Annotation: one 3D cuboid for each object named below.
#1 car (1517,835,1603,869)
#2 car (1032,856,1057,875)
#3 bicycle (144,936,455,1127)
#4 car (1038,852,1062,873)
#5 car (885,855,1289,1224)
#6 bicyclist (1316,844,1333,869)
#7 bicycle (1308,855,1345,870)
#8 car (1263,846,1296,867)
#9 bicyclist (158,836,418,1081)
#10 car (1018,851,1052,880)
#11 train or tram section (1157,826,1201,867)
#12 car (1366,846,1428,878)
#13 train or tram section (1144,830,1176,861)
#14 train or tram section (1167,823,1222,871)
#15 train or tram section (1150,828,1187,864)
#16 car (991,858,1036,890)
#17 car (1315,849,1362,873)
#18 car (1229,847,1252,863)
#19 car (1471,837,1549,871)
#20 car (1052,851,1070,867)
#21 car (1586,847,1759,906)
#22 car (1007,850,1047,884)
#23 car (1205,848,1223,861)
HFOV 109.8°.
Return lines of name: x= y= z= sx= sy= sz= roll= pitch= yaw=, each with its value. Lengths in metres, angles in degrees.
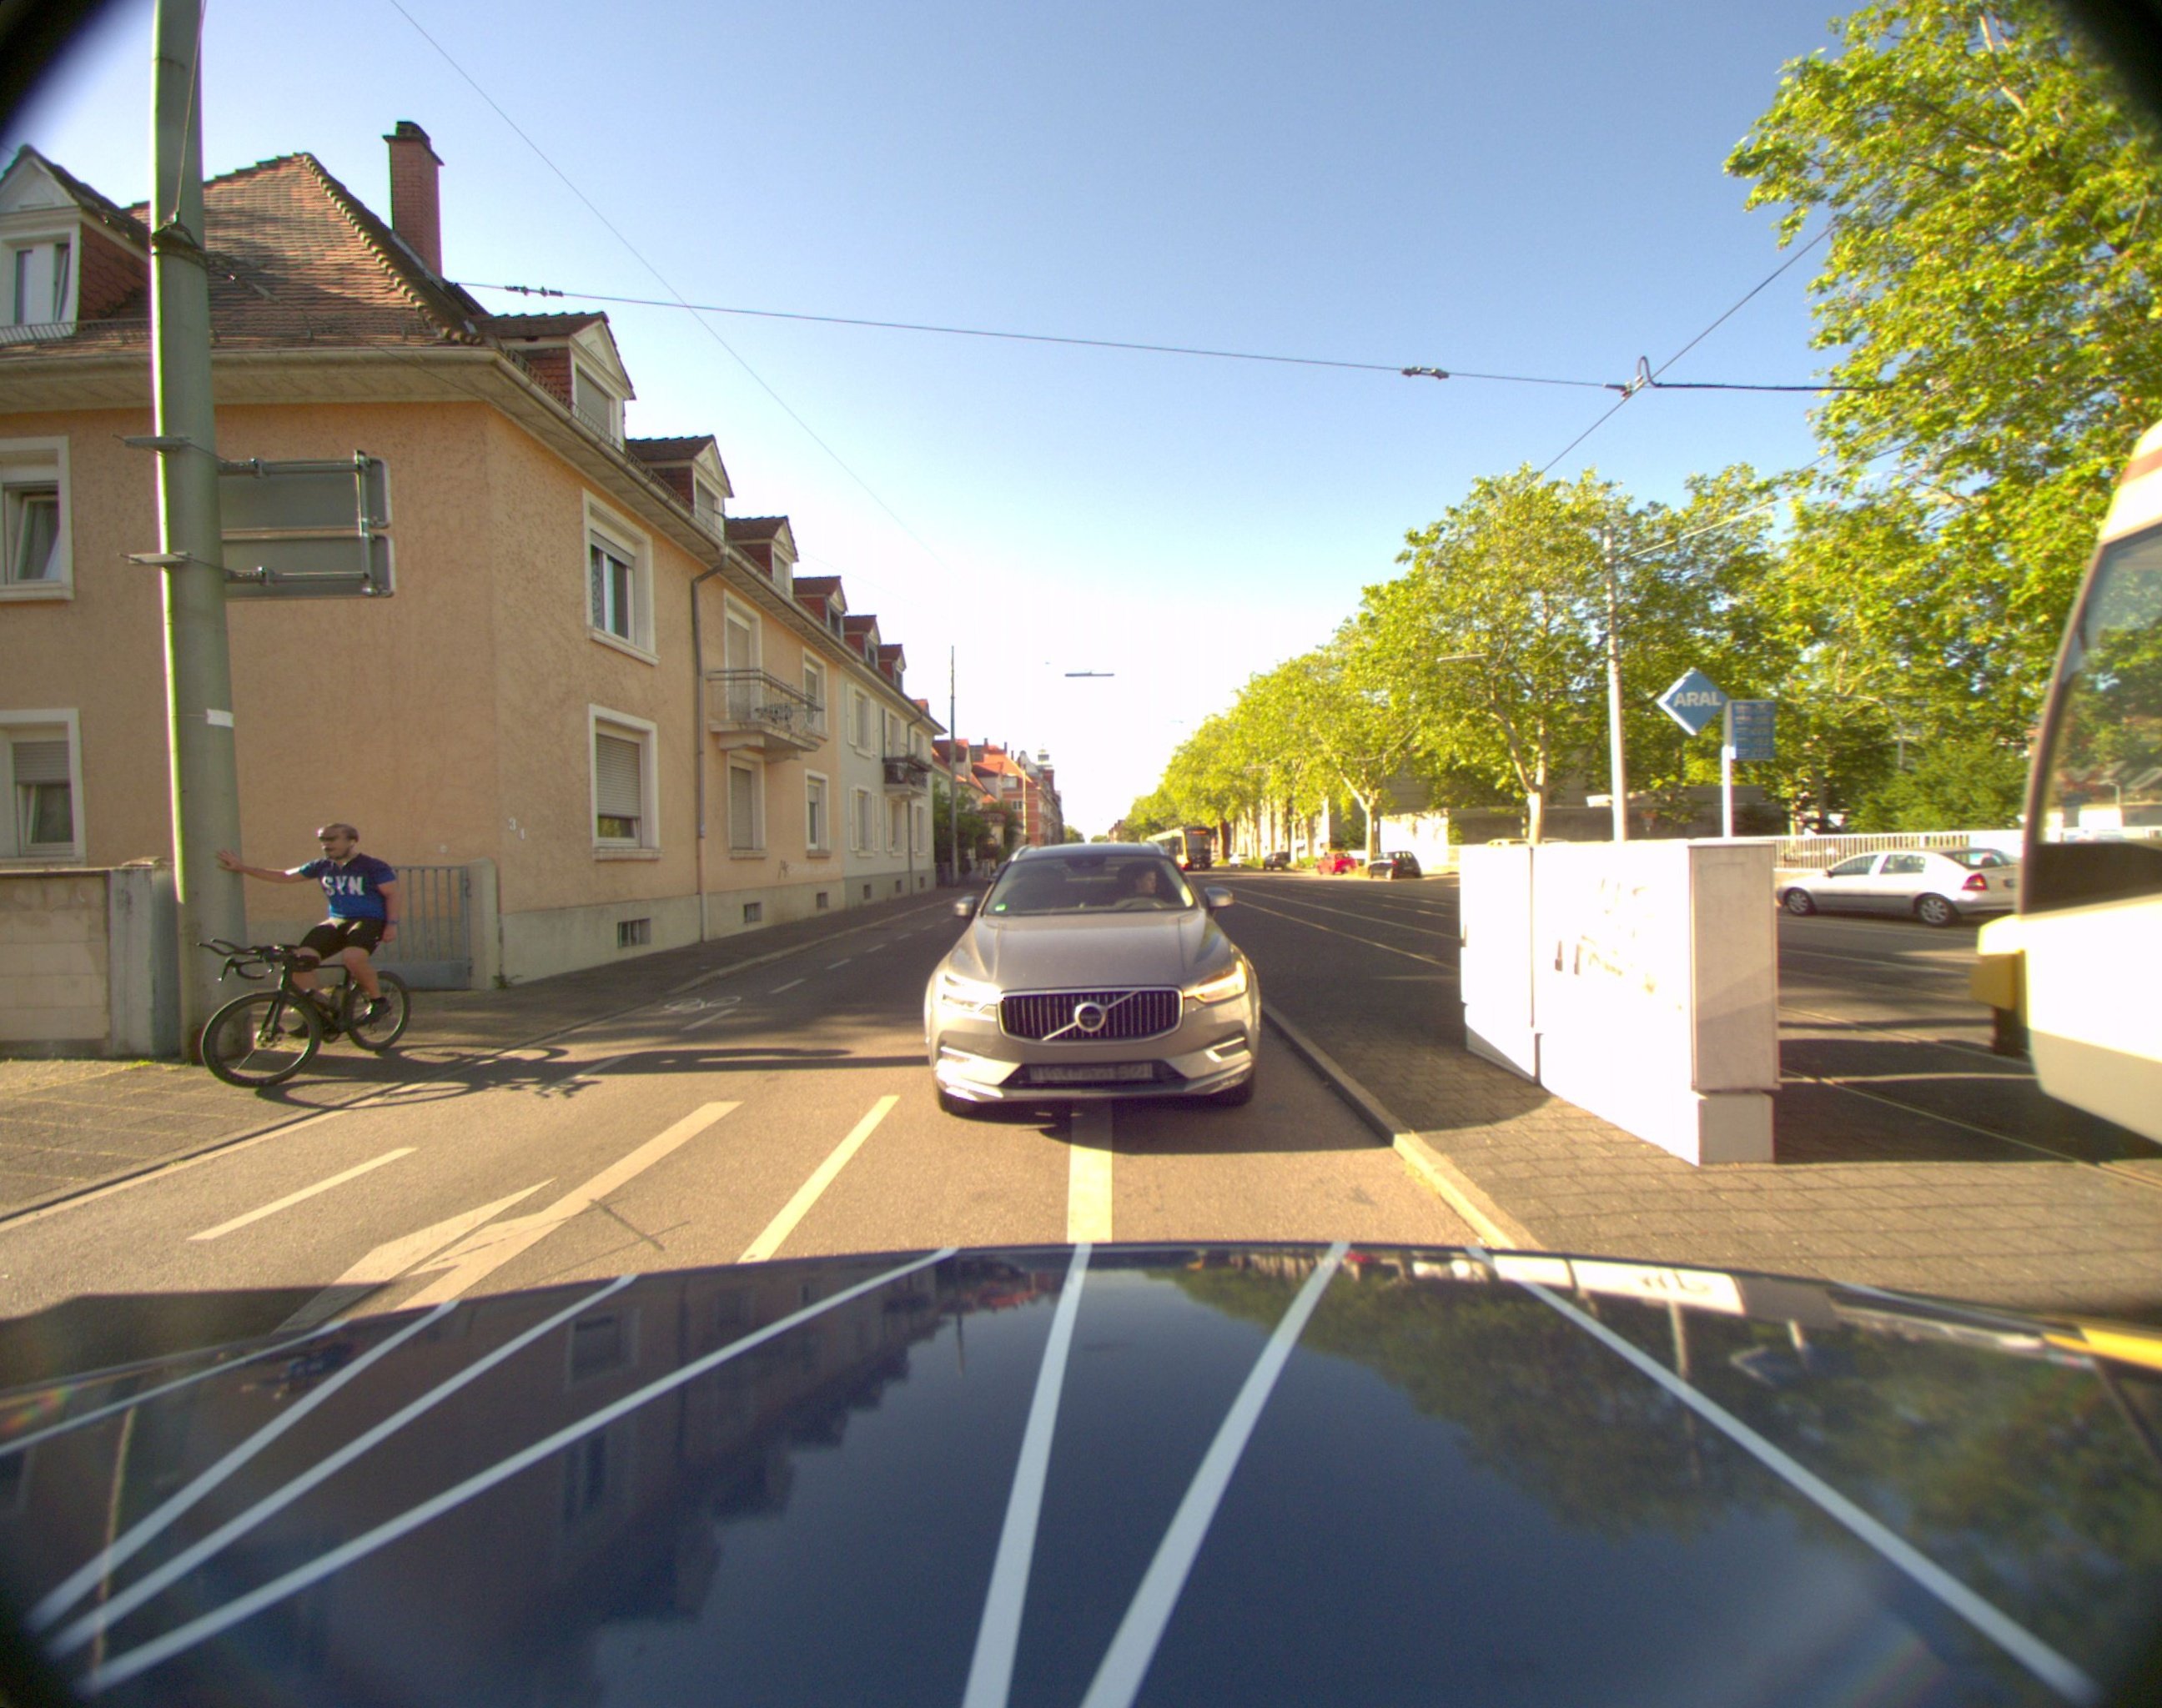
car: x=24.057 y=-0.119 z=38.324 sx=1.845 sy=1.524 sz=4.000 roll=-4 pitch=0 yaw=2
car: x=-2.861 y=0.857 z=60.398 sx=1.808 sy=1.402 sz=3.999 roll=-1 pitch=0 yaw=-1
bicycle: x=-5.923 y=1.277 z=5.929 sx=0.594 sy=1.045 sz=1.719 roll=4 pitch=1 yaw=1
car: x=-2.656 y=0.692 z=65.761 sx=1.847 sy=1.681 sz=4.000 roll=-1 pitch=0 yaw=0
car: x=0.009 y=0.887 z=5.779 sx=1.892 sy=1.695 sz=4.318 roll=-1 pitch=0 yaw=-1
bicyclist: x=18.218 y=0.217 z=56.820 sx=1.068 sy=1.853 sz=0.722 roll=-1 pitch=1 yaw=35
bicycle: x=18.315 y=0.647 z=56.766 sx=2.526 sy=1.114 sz=0.656 roll=-1 pitch=1 yaw=34
car: x=17.187 y=0.217 z=65.884 sx=1.845 sy=1.607 sz=4.098 roll=-4 pitch=0 yaw=3
bicyclist: x=-6.165 y=0.763 z=5.973 sx=1.071 sy=1.728 sz=0.853 roll=4 pitch=1 yaw=1
car: x=-2.776 y=0.686 z=46.641 sx=1.847 sy=1.681 sz=4.000 roll=-1 pitch=0 yaw=0
train or tram section: x=9.034 y=-0.722 z=70.945 sx=2.843 sy=3.456 sz=10.182 roll=-2 pitch=1 yaw=1
car: x=16.981 y=0.402 z=41.075 sx=1.845 sy=1.524 sz=4.001 roll=-4 pitch=0 yaw=4
train or tram section: x=9.376 y=-1.033 z=91.231 sx=2.843 sy=3.456 sz=10.182 roll=-2 pitch=1 yaw=1
train or tram section: x=8.897 y=-0.573 z=60.804 sx=2.862 sy=3.456 sz=10.182 roll=-2 pitch=1 yaw=1
train or tram section: x=9.217 y=-0.855 z=81.084 sx=2.843 sy=3.456 sz=10.182 roll=-2 pitch=1 yaw=1
car: x=-3.216 y=0.944 z=36.968 sx=1.847 sy=1.412 sz=3.999 roll=-1 pitch=0 yaw=-1
car: x=16.978 y=0.439 z=50.299 sx=1.845 sy=1.400 sz=4.001 roll=-4 pitch=0 yaw=3
car: x=17.512 y=0.110 z=83.532 sx=1.845 sy=1.664 sz=4.098 roll=-4 pitch=0 yaw=3
car: x=21.763 y=-0.035 z=38.702 sx=1.845 sy=1.524 sz=4.001 roll=-4 pitch=0 yaw=4
car: x=-2.221 y=0.547 z=85.475 sx=1.999 sy=1.641 sz=4.658 roll=-1 pitch=0 yaw=-1
car: x=16.528 y=0.562 z=21.538 sx=1.845 sy=1.400 sz=4.138 roll=-4 pitch=0 yaw=4
car: x=-2.949 y=0.683 z=42.330 sx=1.847 sy=1.742 sz=4.144 roll=-1 pitch=0 yaw=0
car: x=17.620 y=0.068 z=100.894 sx=1.845 sy=1.664 sz=4.098 roll=-4 pitch=0 yaw=3
